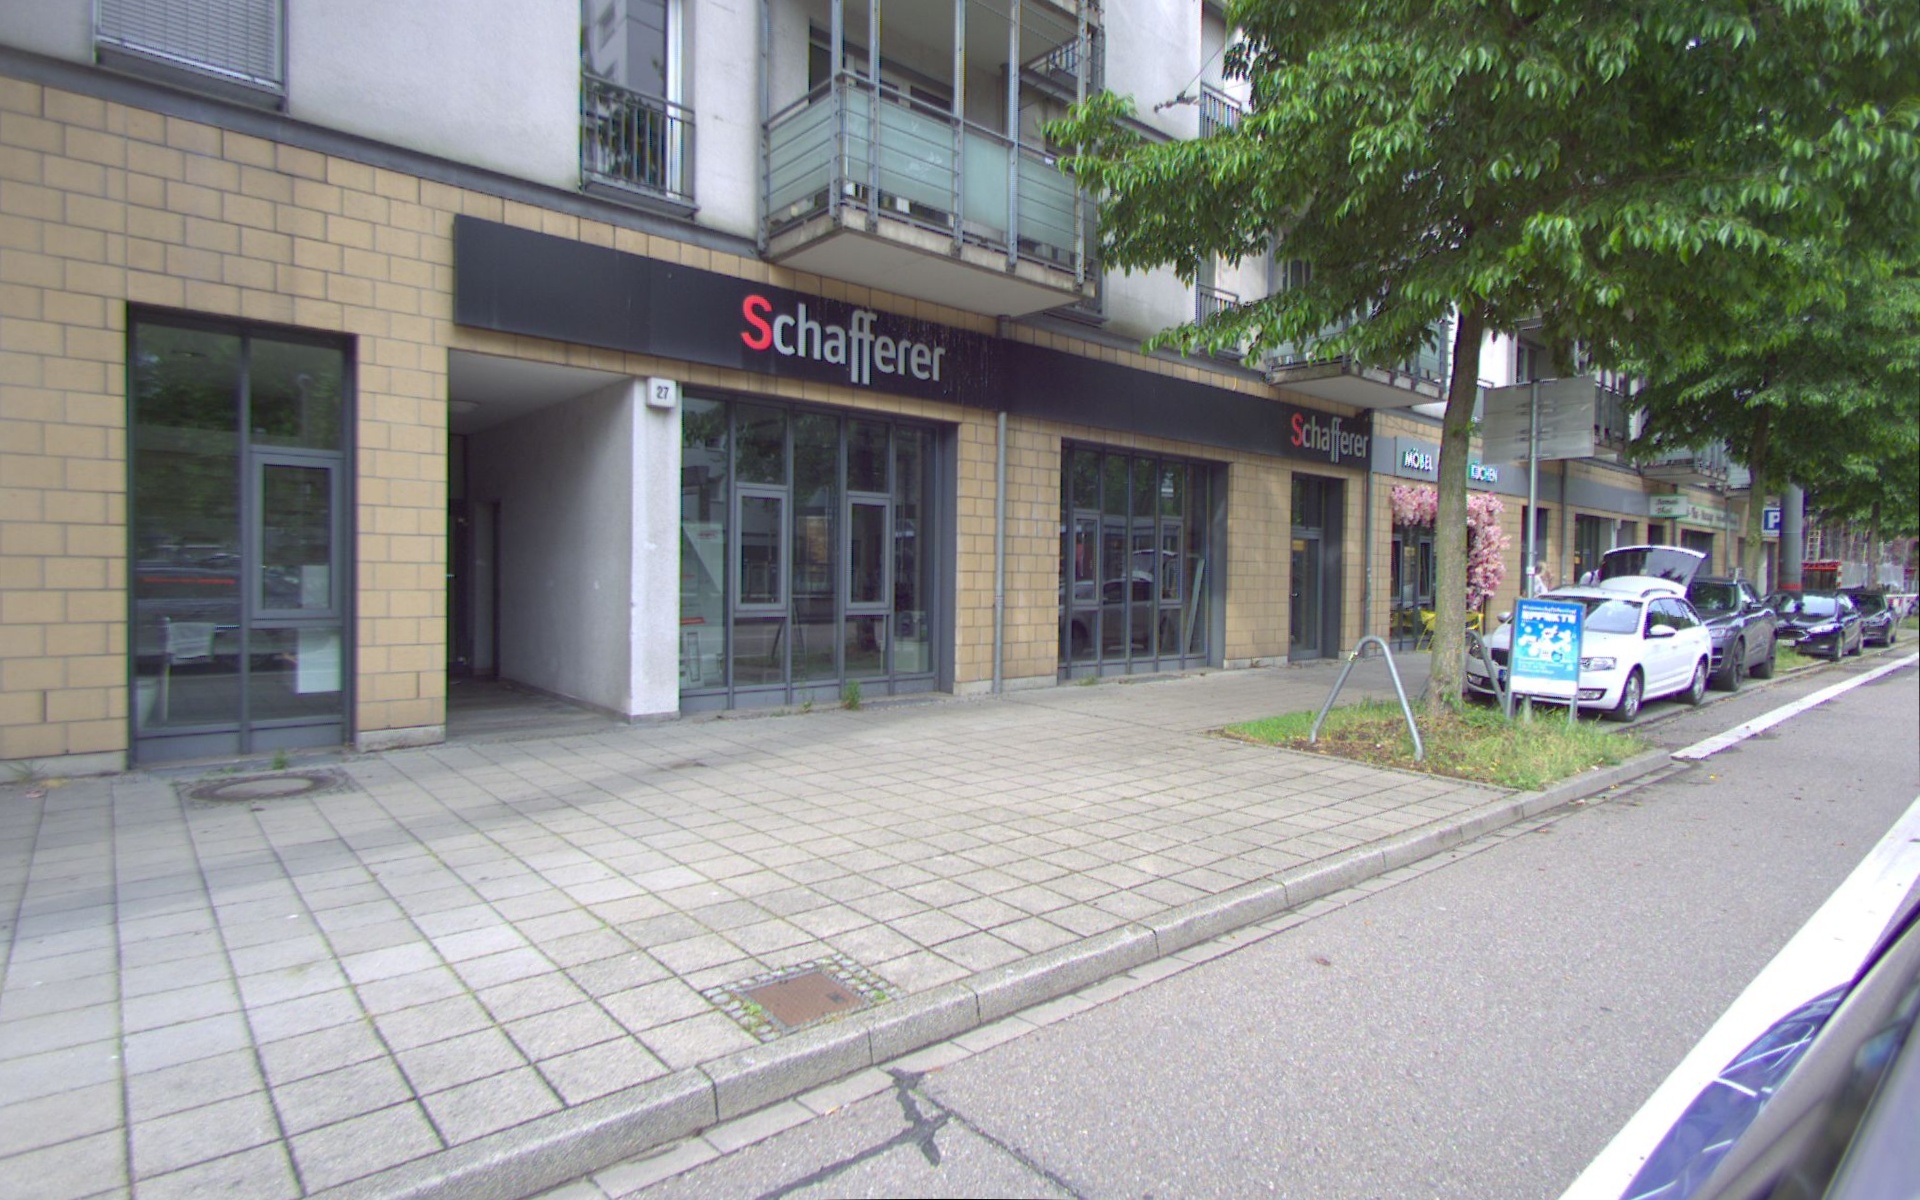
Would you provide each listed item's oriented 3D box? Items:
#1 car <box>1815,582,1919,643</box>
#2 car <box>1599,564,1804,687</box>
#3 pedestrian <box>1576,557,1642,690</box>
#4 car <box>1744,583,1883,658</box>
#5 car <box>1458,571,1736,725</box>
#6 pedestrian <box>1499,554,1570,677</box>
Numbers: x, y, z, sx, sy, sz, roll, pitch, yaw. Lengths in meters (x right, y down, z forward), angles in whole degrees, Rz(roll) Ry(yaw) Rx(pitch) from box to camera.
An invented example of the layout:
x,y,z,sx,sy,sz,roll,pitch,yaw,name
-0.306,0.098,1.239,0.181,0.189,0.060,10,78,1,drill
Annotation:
x,y,z,sx,sy,sz,roll,pitch,yaw,name
24.156,0.279,26.868,3.603,1.417,1.612,-1,5,-41,car
11.793,0.312,16.026,3.732,1.630,1.738,-1,5,-41,car
9.592,0.321,14.952,0.588,1.907,0.656,0,1,-40,pedestrian
18.634,0.379,22.042,4.095,1.394,1.612,-1,5,-41,car
8.121,0.468,12.753,4.233,1.539,1.738,-1,5,-41,car
8.425,0.200,14.839,0.736,1.738,0.608,3,3,43,pedestrian
